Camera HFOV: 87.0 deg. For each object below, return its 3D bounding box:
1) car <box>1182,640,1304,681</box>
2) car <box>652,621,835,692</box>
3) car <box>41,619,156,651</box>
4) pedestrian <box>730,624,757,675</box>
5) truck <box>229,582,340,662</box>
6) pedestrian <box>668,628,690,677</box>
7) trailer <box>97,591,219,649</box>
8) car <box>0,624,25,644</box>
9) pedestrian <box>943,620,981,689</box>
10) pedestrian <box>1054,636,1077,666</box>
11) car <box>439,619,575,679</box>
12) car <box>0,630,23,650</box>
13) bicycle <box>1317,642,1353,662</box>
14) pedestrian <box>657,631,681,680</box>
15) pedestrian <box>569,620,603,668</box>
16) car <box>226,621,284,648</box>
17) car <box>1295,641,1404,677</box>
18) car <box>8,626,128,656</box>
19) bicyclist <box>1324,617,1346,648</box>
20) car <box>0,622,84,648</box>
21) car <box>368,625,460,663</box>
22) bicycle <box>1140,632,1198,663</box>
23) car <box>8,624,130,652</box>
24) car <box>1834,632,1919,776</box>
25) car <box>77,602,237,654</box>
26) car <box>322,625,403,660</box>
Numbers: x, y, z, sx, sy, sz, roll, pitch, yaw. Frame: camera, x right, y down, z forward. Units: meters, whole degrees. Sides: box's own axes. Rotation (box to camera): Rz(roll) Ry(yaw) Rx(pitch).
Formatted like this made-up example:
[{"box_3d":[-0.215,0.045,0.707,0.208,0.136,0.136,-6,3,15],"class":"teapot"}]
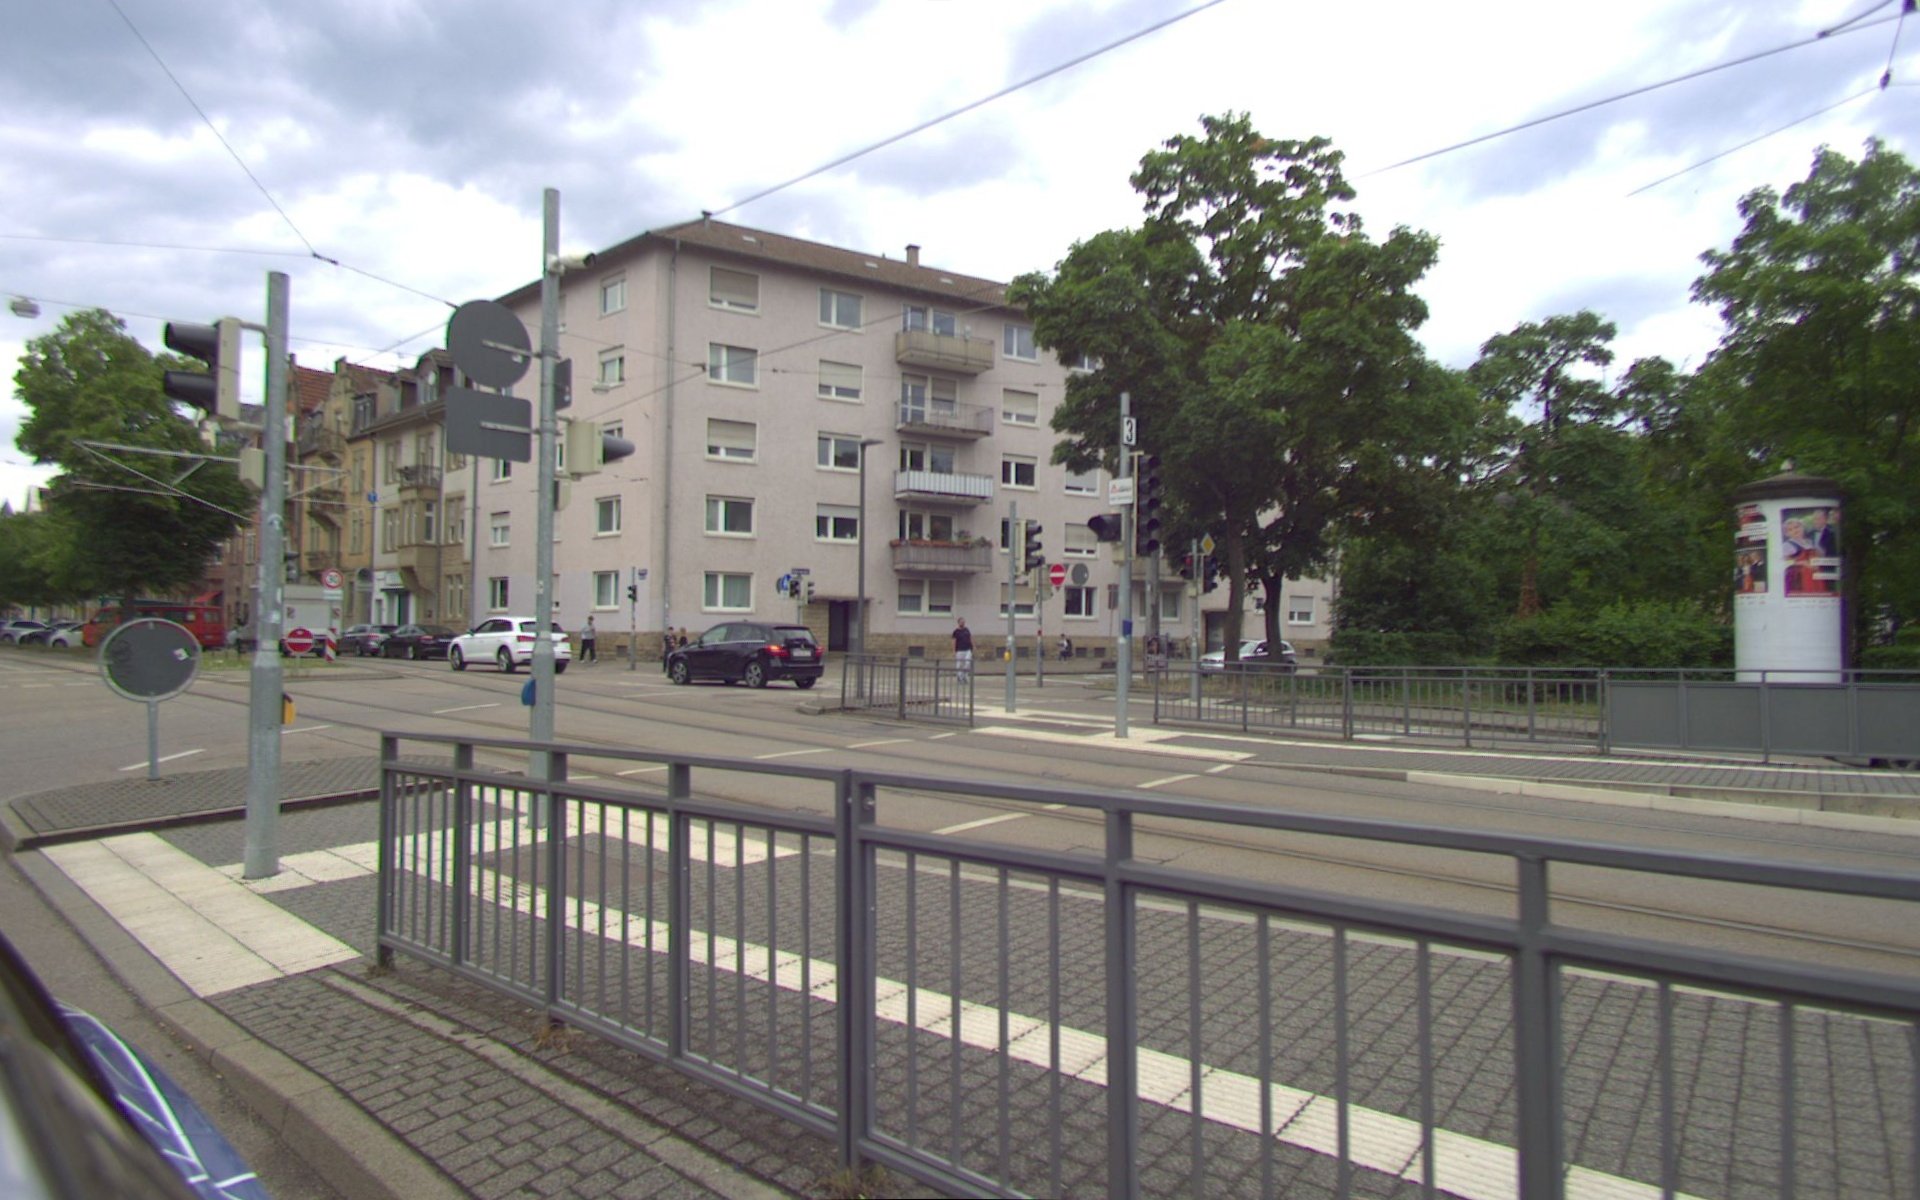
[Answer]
[{"box_3d":[10.169,2.160,36.312,3.967,1.364,2.006,2,-2,-29],"class":"car"},{"box_3d":[-5.237,1.280,24.199,4.530,1.504,1.754,0,-2,37],"class":"car"},{"box_3d":[-40.757,1.661,47.948,3.802,1.474,1.692,1,-2,-7],"class":"car"},{"box_3d":[-7.957,1.803,37.161,0.710,1.827,0.685,2,-2,-34],"class":"pedestrian"},{"box_3d":[-28.925,0.920,43.229,7.330,3.181,2.161,0,-2,42],"class":"truck"},{"box_3d":[-9.157,1.717,33.021,0.562,1.569,0.534,1,-2,-2],"class":"pedestrian"},{"box_3d":[-34.537,0.893,43.679,3.608,2.362,1.937,1,-2,-17],"class":"trailer"},{"box_3d":[-75.091,2.613,77.738,4.472,1.501,2.038,1,-2,-5],"class":"car"},{"box_3d":[0.049,1.535,28.696,0.822,1.889,1.048,1,-2,-14],"class":"pedestrian"},{"box_3d":[4.607,2.212,44.100,0.719,1.298,0.692,2,-2,-34],"class":"pedestrian"},{"box_3d":[-13.713,1.420,30.524,4.530,1.651,1.754,0,-2,37],"class":"car"},{"box_3d":[-67.903,2.731,69.836,4.595,1.378,1.760,1,-2,-7],"class":"car"},{"box_3d":[19.409,2.708,52.338,1.932,1.010,0.658,2,-2,-29],"class":"bicycle"},{"box_3d":[-9.627,1.831,33.485,0.561,1.569,0.534,3,-3,-39],"class":"pedestrian"},{"box_3d":[-14.153,1.647,38.297,0.899,1.780,0.789,-1,-3,39],"class":"pedestrian"},{"box_3d":[-39.624,1.912,56.838,3.919,1.454,1.618,-1,-2,39],"class":"car"},{"box_3d":[15.595,2.338,40.492,3.967,1.364,2.006,2,-2,-29],"class":"car"},{"box_3d":[-45.720,2.089,51.977,4.272,1.446,1.902,1,-2,-7],"class":"car"},{"box_3d":[19.388,1.695,52.354,0.846,1.576,0.660,2,-2,-29],"class":"bicyclist"},{"box_3d":[-53.852,2.018,58.827,4.052,1.495,1.800,1,-2,-9],"class":"car"},{"box_3d":[-22.577,1.799,41.775,4.757,1.454,1.618,-1,-2,39],"class":"car"},{"box_3d":[10.078,2.286,48.704,2.846,1.477,0.885,2,-2,-29],"class":"bicycle"},{"box_3d":[-48.108,2.051,54.738,4.612,1.446,1.903,1,-2,-10],"class":"car"},{"box_3d":[11.684,1.122,10.528,3.884,1.504,1.752,0,-2,41],"class":"car"},{"box_3d":[-32.488,1.166,41.084,4.690,1.989,1.964,1,-2,-11],"class":"car"},{"box_3d":[-26.747,1.877,45.271,4.565,1.454,1.618,-1,-2,39],"class":"car"}]
